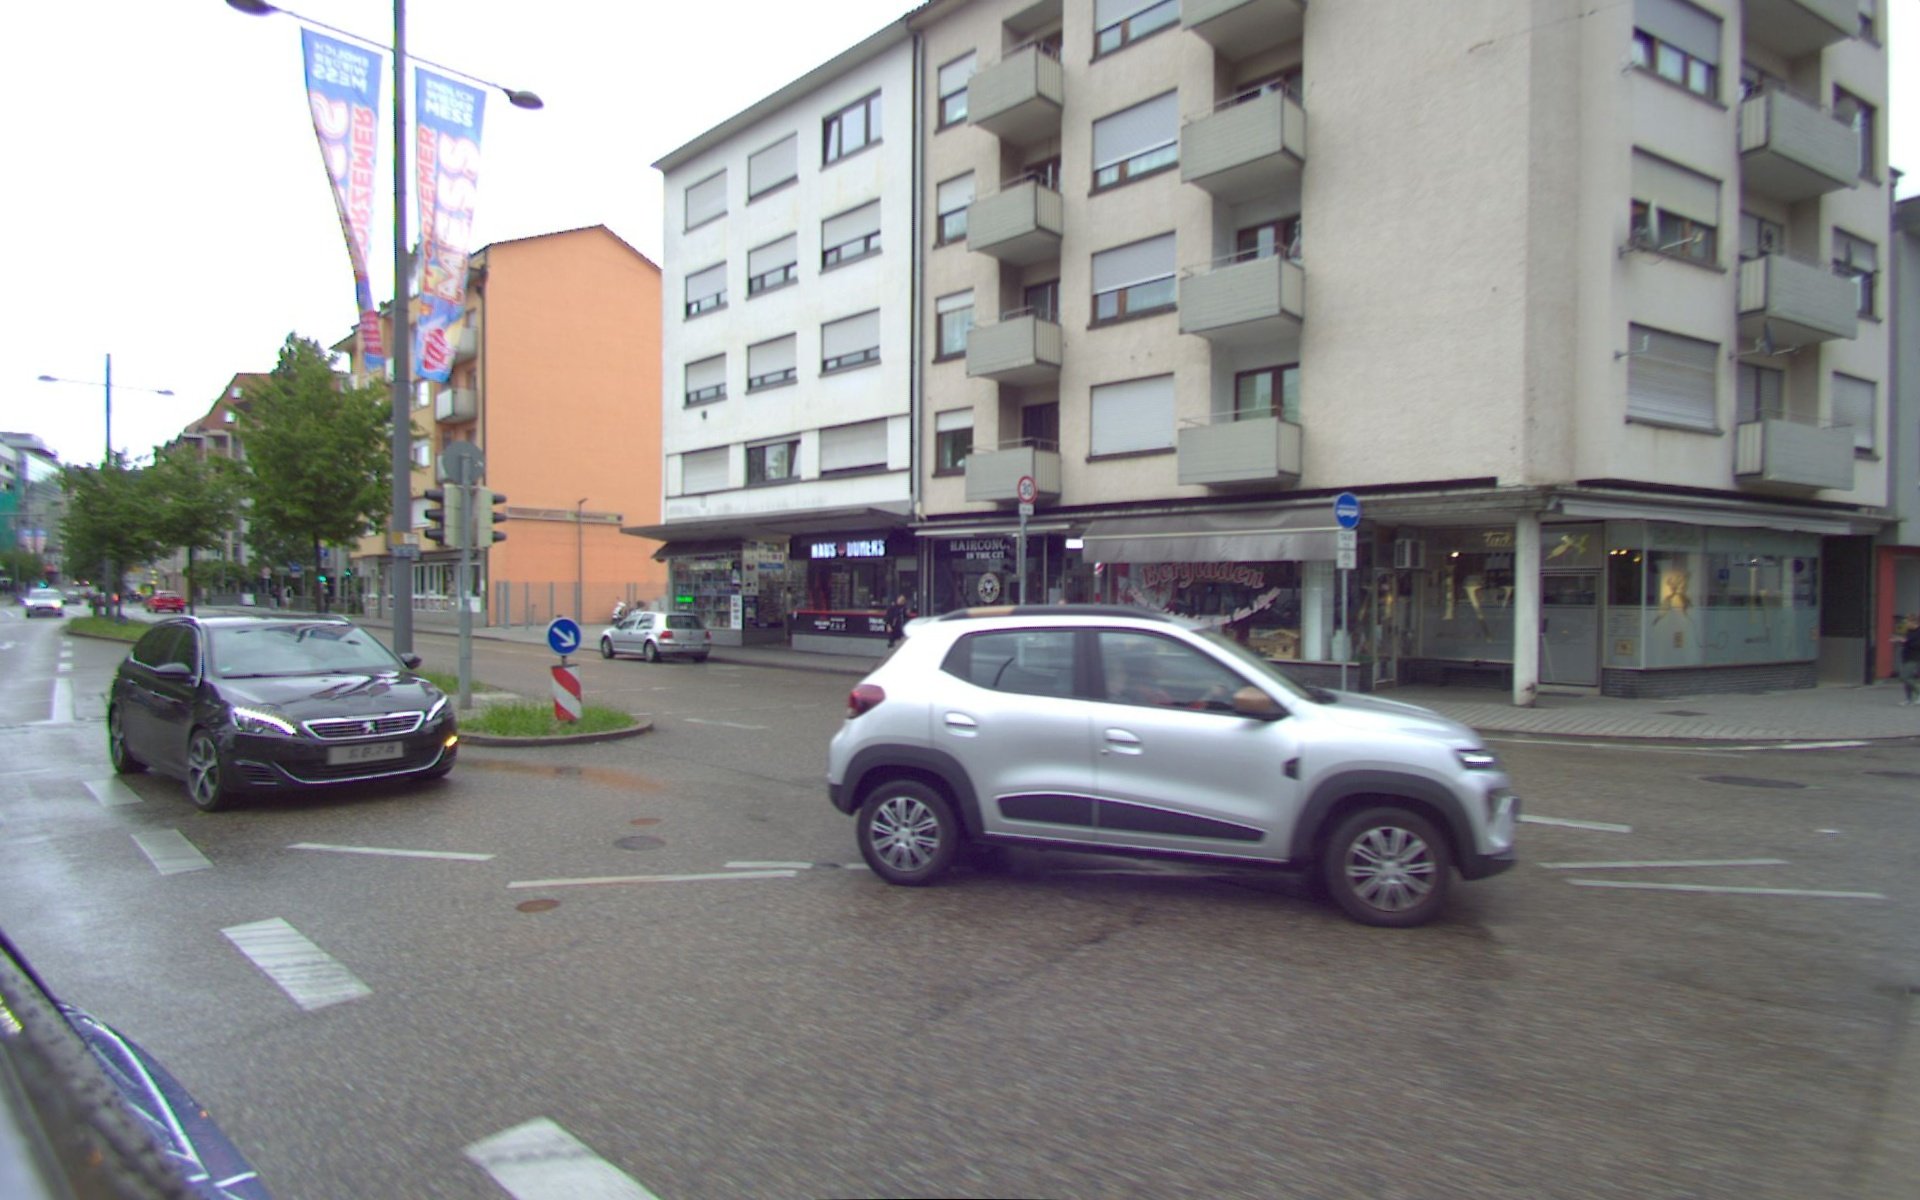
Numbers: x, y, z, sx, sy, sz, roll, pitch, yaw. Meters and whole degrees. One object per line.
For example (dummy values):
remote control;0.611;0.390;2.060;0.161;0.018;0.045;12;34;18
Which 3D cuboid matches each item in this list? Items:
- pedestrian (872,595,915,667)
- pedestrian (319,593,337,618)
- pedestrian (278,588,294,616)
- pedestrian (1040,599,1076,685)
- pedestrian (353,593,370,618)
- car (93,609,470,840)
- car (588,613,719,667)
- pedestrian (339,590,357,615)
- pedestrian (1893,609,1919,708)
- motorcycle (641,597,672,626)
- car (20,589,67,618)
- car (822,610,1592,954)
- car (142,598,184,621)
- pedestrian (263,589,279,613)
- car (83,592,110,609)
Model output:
pedestrian;-1.672;0.769;25.421;0.768;1.742;0.661;-4;2;-43
pedestrian;-37.630;0.323;60.263;0.606;1.451;0.556;-1;2;26
pedestrian;-45.728;0.148;68.701;0.800;1.901;0.736;0;0;42
pedestrian;2.046;0.866;21.143;0.446;1.743;0.525;-4;2;-42
pedestrian;-40.331;0.346;68.187;0.738;1.661;0.681;0;0;9
car;-6.150;0.857;8.945;4.396;1.444;1.780;1;1;42
car;-8.744;1.111;28.700;4.152;1.402;1.658;0;-3;43
pedestrian;-41.476;0.170;68.568;0.676;1.703;0.743;0;0;13
pedestrian;16.700;1.003;17.468;0.596;1.663;0.527;2;2;9
motorcycle;-15.803;0.601;52.724;1.446;1.473;0.397;4;-2;-45
car;-54.310;0.242;60.023;1.868;1.588;4.368;2;-2;-40
car;1.196;0.799;5.609;3.597;1.472;1.534;0;0;16
car;-53.559;0.630;67.983;3.946;1.441;1.585;1;-2;43
pedestrian;-48.567;0.063;71.316;0.800;1.708;0.756;0;0;42
car;-77.969;0.050;91.364;3.836;1.404;1.549;1;-1;45
